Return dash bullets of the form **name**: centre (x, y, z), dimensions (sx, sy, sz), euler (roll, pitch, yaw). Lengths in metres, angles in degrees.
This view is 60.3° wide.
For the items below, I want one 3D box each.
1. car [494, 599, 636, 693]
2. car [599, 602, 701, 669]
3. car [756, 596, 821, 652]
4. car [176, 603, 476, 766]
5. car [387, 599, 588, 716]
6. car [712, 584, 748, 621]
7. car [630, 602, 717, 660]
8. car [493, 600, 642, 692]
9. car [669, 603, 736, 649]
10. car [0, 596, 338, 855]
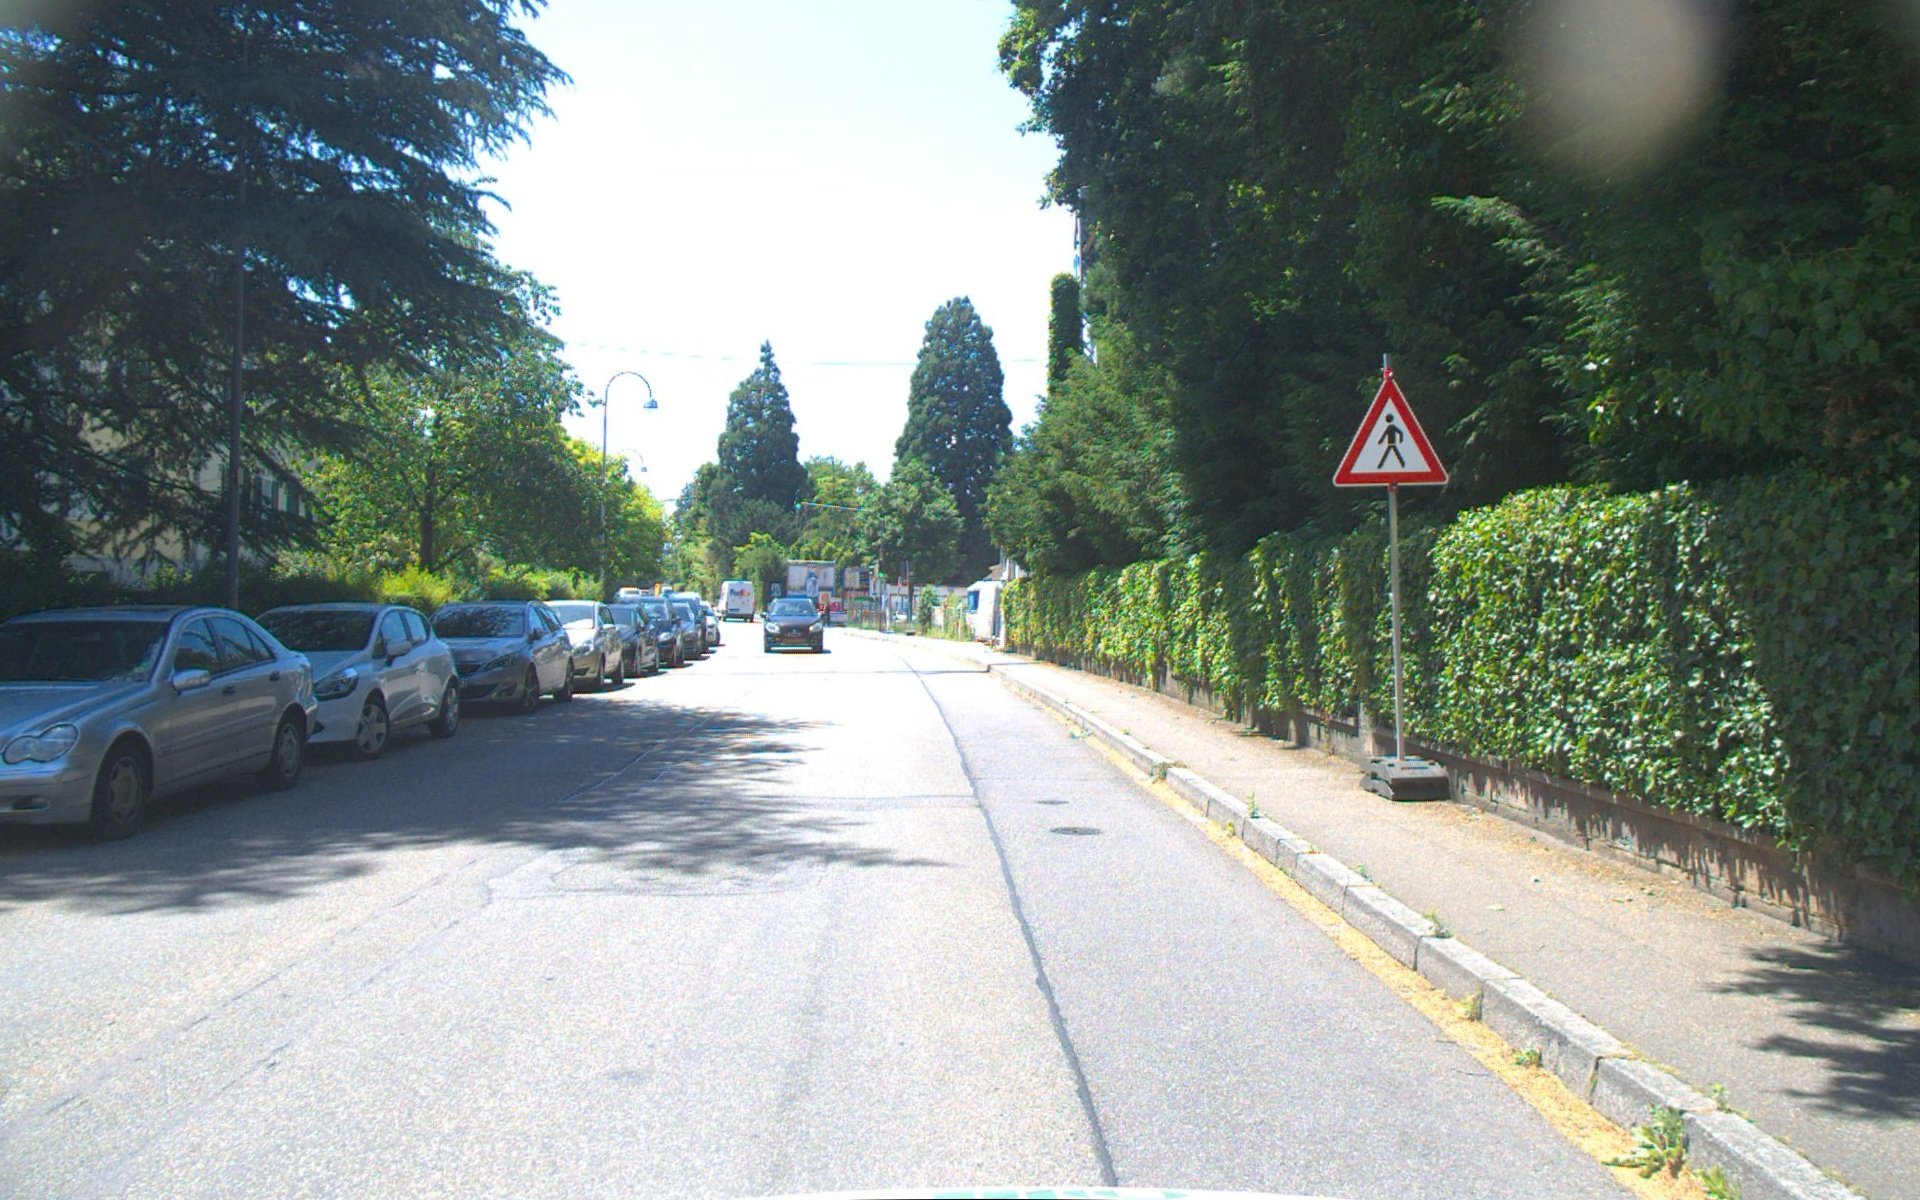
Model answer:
- **car**: centre (-6.732, 0.745, 28.547), dimensions (1.655, 1.474, 3.997), euler (1, 0, -3)
- **car**: centre (-7.184, 0.800, 38.655), dimensions (1.654, 1.470, 4.134), euler (0, 0, -1)
- **car**: centre (-5.095, 0.705, 49.561), dimensions (1.816, 1.612, 4.132), euler (0, 0, -4)
- **car**: centre (-6.158, 0.750, 16.522), dimensions (1.550, 1.414, 3.882), euler (0, 0, -1)
- **car**: centre (-6.383, 0.732, 22.802), dimensions (1.654, 1.470, 4.134), euler (0, 0, -1)
- **car**: centre (-15.041, 0.129, 107.823), dimensions (2.105, 2.356, 4.840), euler (0, 0, -10)
- **car**: centre (-7.548, 0.796, 43.832), dimensions (1.654, 1.470, 4.134), euler (0, 0, -1)
- **car**: centre (-6.689, 0.743, 28.563), dimensions (1.654, 1.470, 4.134), euler (0, 0, -1)
- **car**: centre (-8.644, 0.856, 55.793), dimensions (1.654, 1.470, 4.134), euler (0, 0, -1)
- **car**: centre (-5.972, 0.736, 11.558), dimensions (1.675, 1.464, 4.321), euler (-1, 0, -1)
